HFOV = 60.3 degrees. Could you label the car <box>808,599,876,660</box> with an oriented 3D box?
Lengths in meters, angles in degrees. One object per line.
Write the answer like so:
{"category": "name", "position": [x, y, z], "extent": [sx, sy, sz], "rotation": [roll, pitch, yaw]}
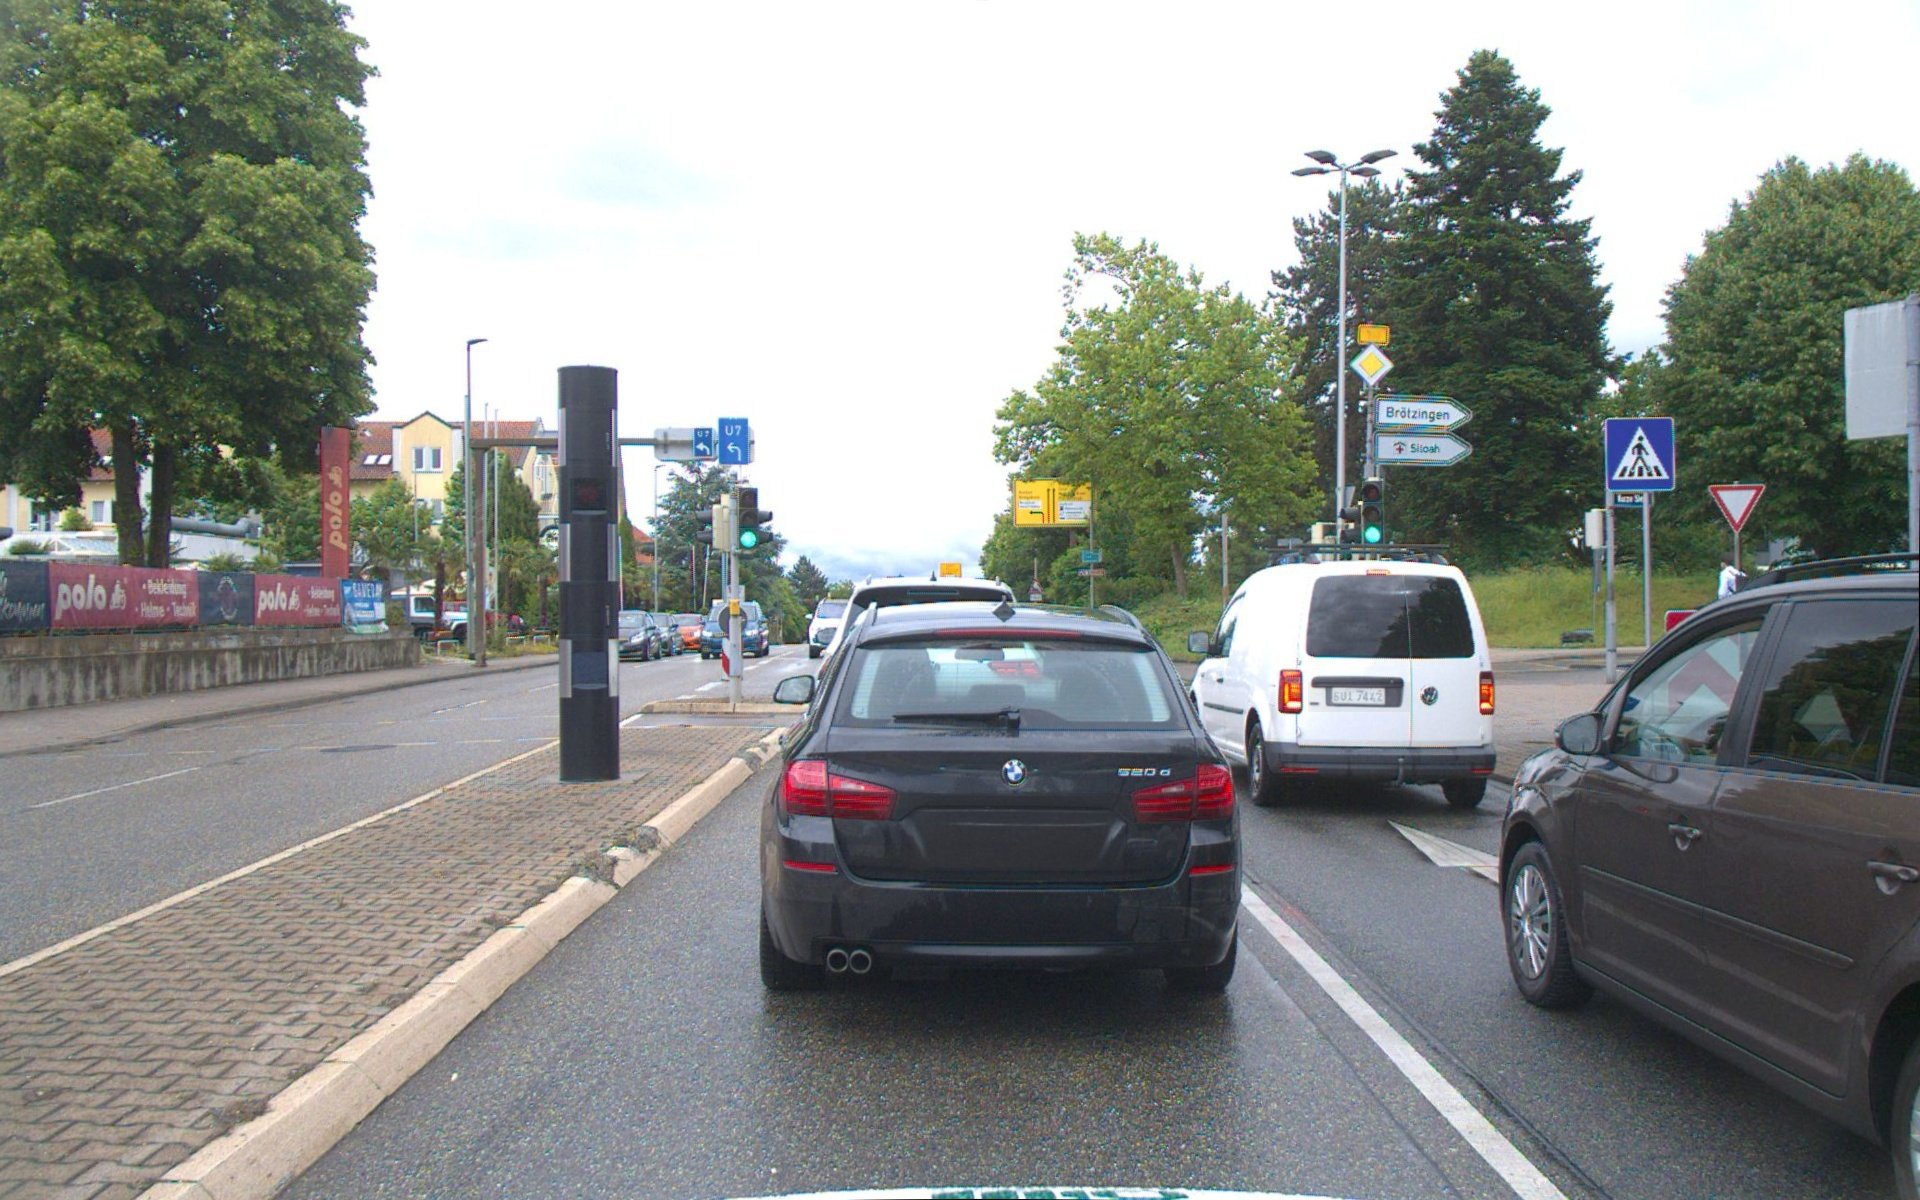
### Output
{"category": "car", "position": [-3.405, 0.832, 48.284], "extent": [1.802, 1.678, 4.295], "rotation": [0, 0, -2]}

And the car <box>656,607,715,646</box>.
{"category": "car", "position": [-10.163, 0.959, 61.452], "extent": [1.590, 1.355, 3.945], "rotation": [-2, 0, -2]}

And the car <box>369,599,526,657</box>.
{"category": "car", "position": [-17.960, 0.969, 58.009], "extent": [4.943, 1.732, 1.980], "rotation": [-2, -3, -29]}

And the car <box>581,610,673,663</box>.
{"category": "car", "position": [-9.770, 1.038, 48.803], "extent": [1.878, 1.403, 4.124], "rotation": [-2, 0, -1]}

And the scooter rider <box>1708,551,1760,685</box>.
{"category": "scooter rider", "position": [11.633, 0.264, 24.869], "extent": [0.490, 2.000, 0.547], "rotation": [-1, 0, -1]}

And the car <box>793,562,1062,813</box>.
{"category": "car", "position": [-0.242, 0.584, 13.336], "extent": [1.830, 1.703, 4.000], "rotation": [1, 0, -1]}

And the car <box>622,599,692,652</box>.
{"category": "car", "position": [-10.154, 0.839, 55.612], "extent": [1.642, 1.646, 3.999], "rotation": [-1, 0, -1]}

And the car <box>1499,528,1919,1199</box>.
{"category": "car", "position": [3.067, 0.663, 4.730], "extent": [1.711, 1.637, 3.980], "rotation": [1, 0, -1]}

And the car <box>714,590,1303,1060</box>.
{"category": "car", "position": [0.134, 0.706, 7.248], "extent": [1.860, 1.467, 4.000], "rotation": [1, 0, -1]}

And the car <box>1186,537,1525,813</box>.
{"category": "car", "position": [3.019, 0.511, 13.425], "extent": [1.729, 1.910, 3.804], "rotation": [1, 0, -2]}

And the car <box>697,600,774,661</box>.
{"category": "car", "position": [-6.644, 0.872, 49.327], "extent": [1.802, 1.678, 4.295], "rotation": [-2, 0, -2]}

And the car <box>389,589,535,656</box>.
{"category": "car", "position": [-16.697, 0.733, 55.519], "extent": [4.339, 2.049, 1.980], "rotation": [-2, 0, -30]}
